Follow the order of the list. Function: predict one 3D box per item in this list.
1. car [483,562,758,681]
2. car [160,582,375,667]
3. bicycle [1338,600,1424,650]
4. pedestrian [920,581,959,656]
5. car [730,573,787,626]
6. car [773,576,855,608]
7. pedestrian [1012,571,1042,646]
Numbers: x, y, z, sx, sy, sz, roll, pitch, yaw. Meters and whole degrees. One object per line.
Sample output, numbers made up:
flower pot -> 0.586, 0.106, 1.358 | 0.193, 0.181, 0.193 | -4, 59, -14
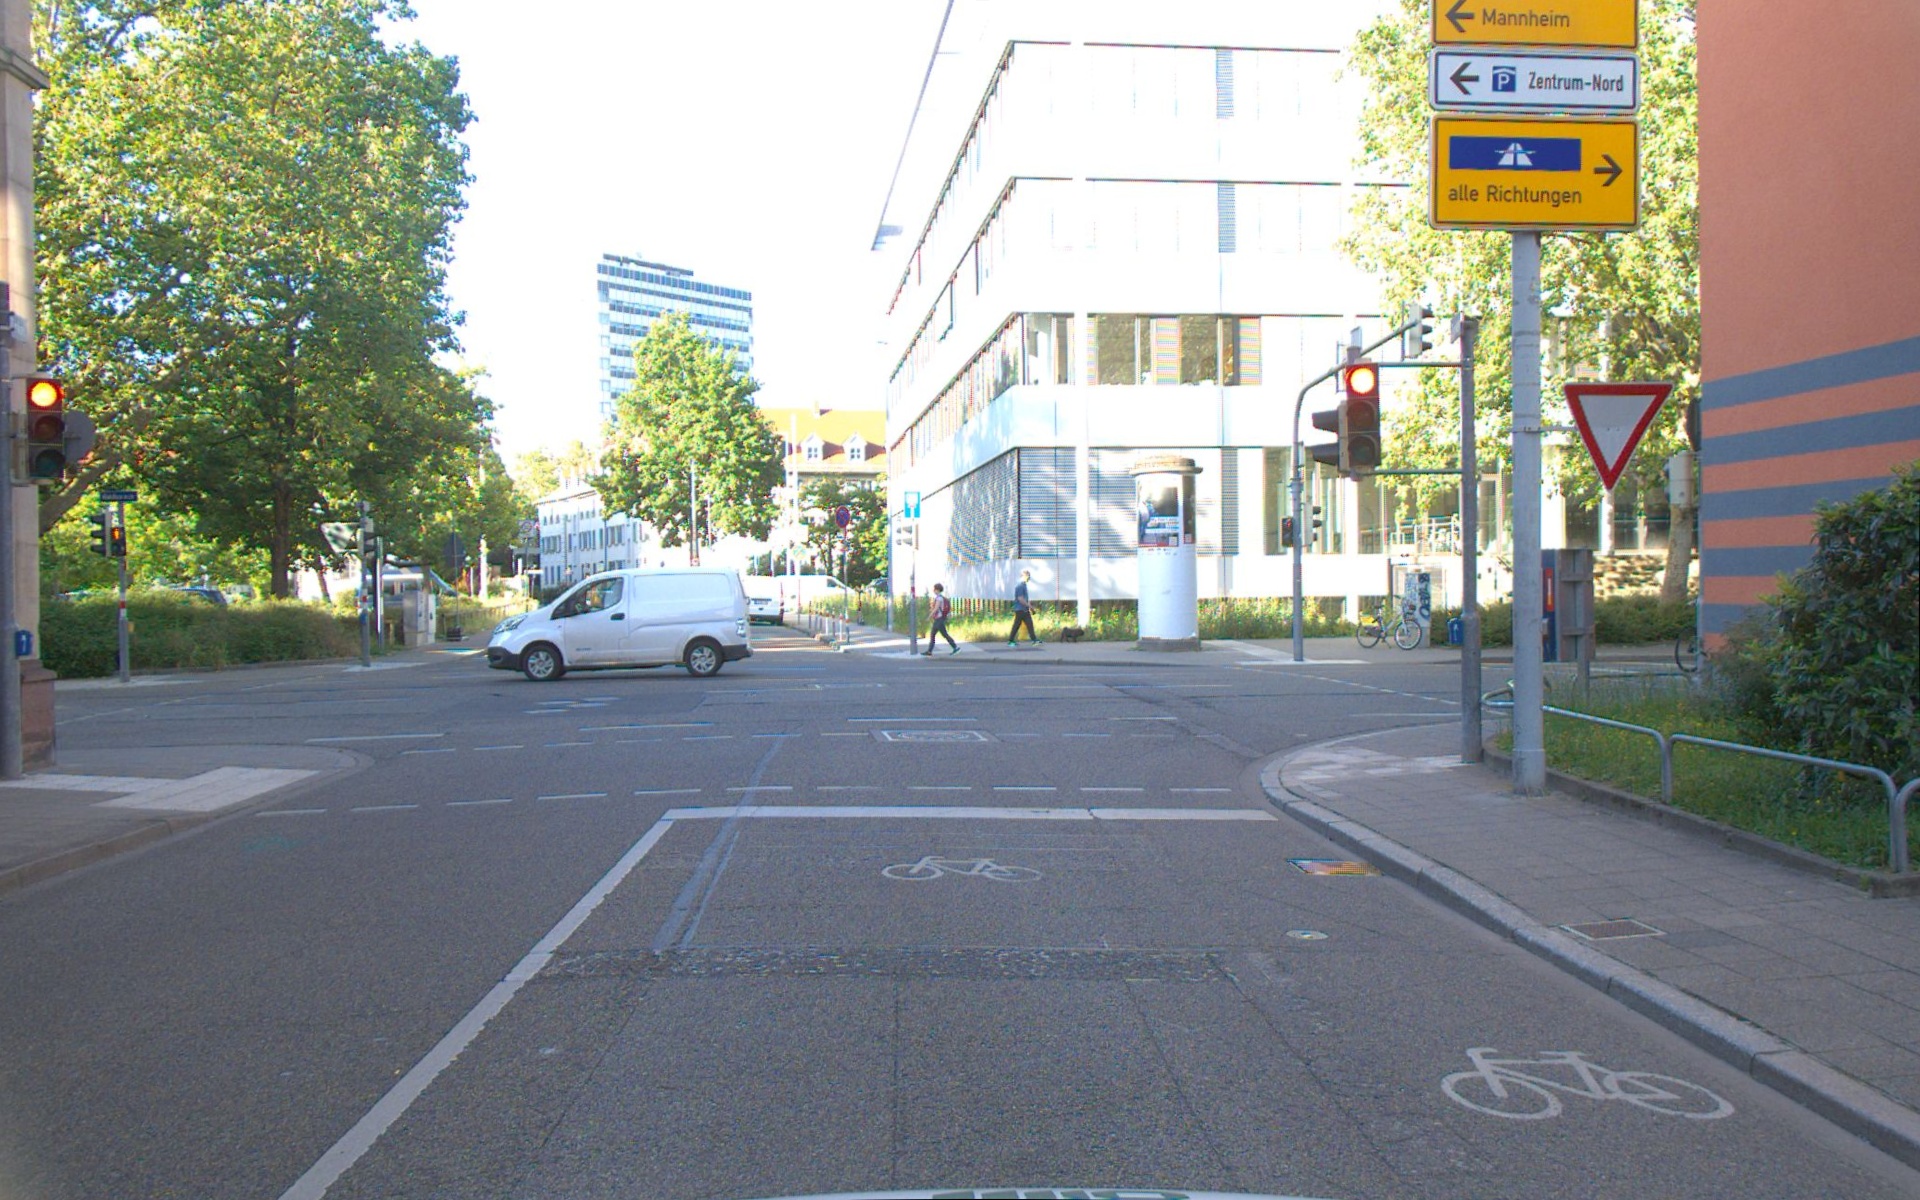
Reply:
car -> -5.743, 0.338, 28.403 | 4.454, 1.831, 1.634 | -2, 0, -8
car -> -15.779, 0.530, 37.875 | 4.146, 1.808, 1.901 | -1, 0, -9
bicycle -> 9.209, 0.539, 36.223 | 0.460, 1.067, 1.886 | -1, 0, -42
pedestrian -> -0.452, 0.408, 36.443 | 0.696, 1.627, 0.618 | -1, 0, 14
car -> -7.882, -0.038, 64.494 | 2.029, 1.997, 4.229 | -1, 0, -9
car -> -9.053, -0.491, 102.695 | 4.804, 1.905, 1.990 | 1, -1, -17
pedestrian -> 1.588, 0.196, 39.081 | 0.638, 1.766, 0.813 | -1, 0, 5
